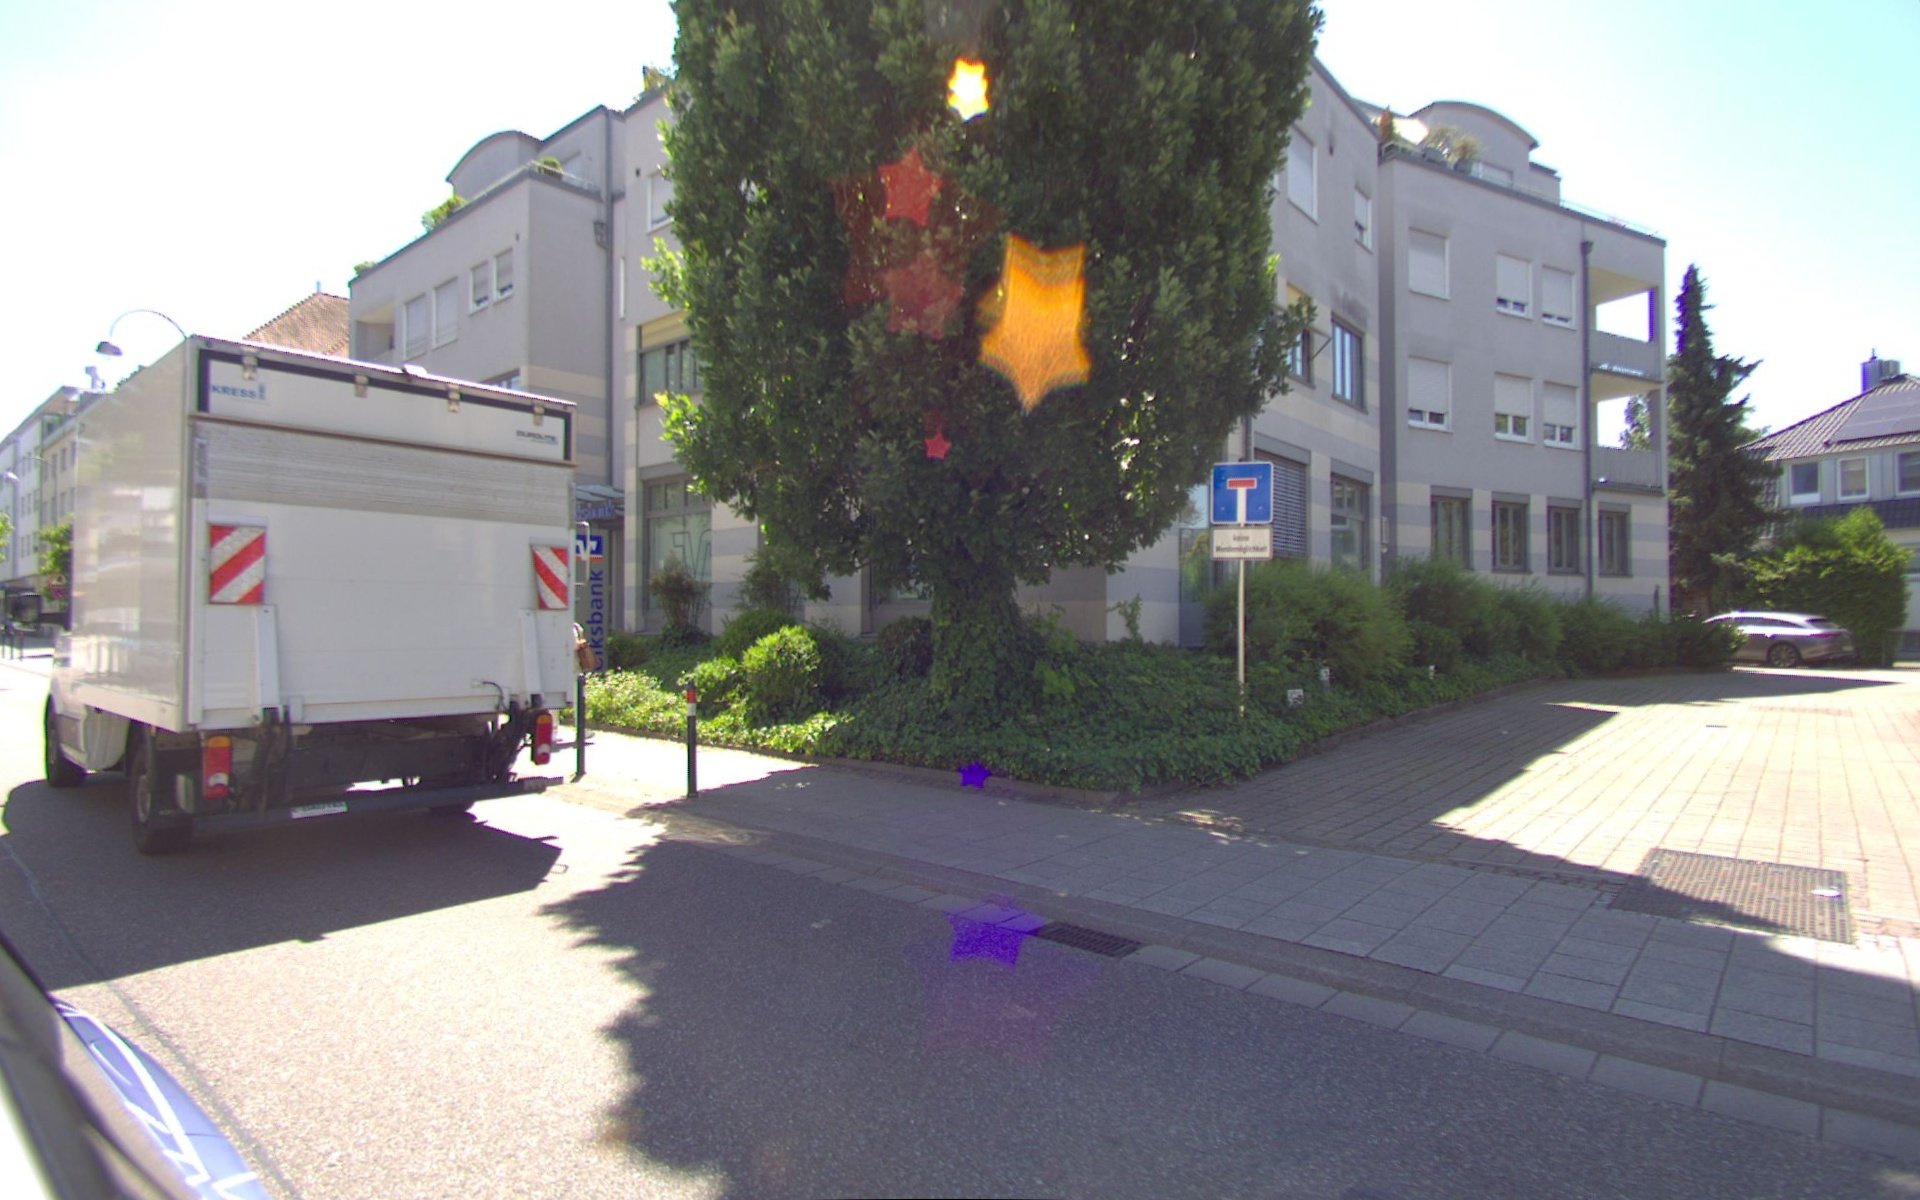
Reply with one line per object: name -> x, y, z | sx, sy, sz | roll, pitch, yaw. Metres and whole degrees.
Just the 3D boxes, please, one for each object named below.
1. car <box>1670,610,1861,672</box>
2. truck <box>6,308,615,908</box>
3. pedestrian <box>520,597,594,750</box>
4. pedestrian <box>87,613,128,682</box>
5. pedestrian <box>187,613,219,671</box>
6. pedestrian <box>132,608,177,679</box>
car -> 21.031, 1.039, 26.572 | 1.473, 1.493, 3.624 | 1, -1, -31
truck -> -5.490, 0.109, 8.039 | 6.254, 3.006, 2.394 | -1, -2, 41
pedestrian -> -4.664, 0.825, 11.707 | 0.708, 1.698, 0.531 | -1, -1, 41
pedestrian -> -21.618, 1.185, 25.675 | 0.903, 1.689, 0.615 | -1, 0, 40
pedestrian -> -22.620, 1.260, 30.236 | 0.734, 1.687, 0.534 | -1, -4, 40
pedestrian -> -20.884, 1.111, 26.223 | 0.950, 1.784, 0.740 | -1, -1, 40
